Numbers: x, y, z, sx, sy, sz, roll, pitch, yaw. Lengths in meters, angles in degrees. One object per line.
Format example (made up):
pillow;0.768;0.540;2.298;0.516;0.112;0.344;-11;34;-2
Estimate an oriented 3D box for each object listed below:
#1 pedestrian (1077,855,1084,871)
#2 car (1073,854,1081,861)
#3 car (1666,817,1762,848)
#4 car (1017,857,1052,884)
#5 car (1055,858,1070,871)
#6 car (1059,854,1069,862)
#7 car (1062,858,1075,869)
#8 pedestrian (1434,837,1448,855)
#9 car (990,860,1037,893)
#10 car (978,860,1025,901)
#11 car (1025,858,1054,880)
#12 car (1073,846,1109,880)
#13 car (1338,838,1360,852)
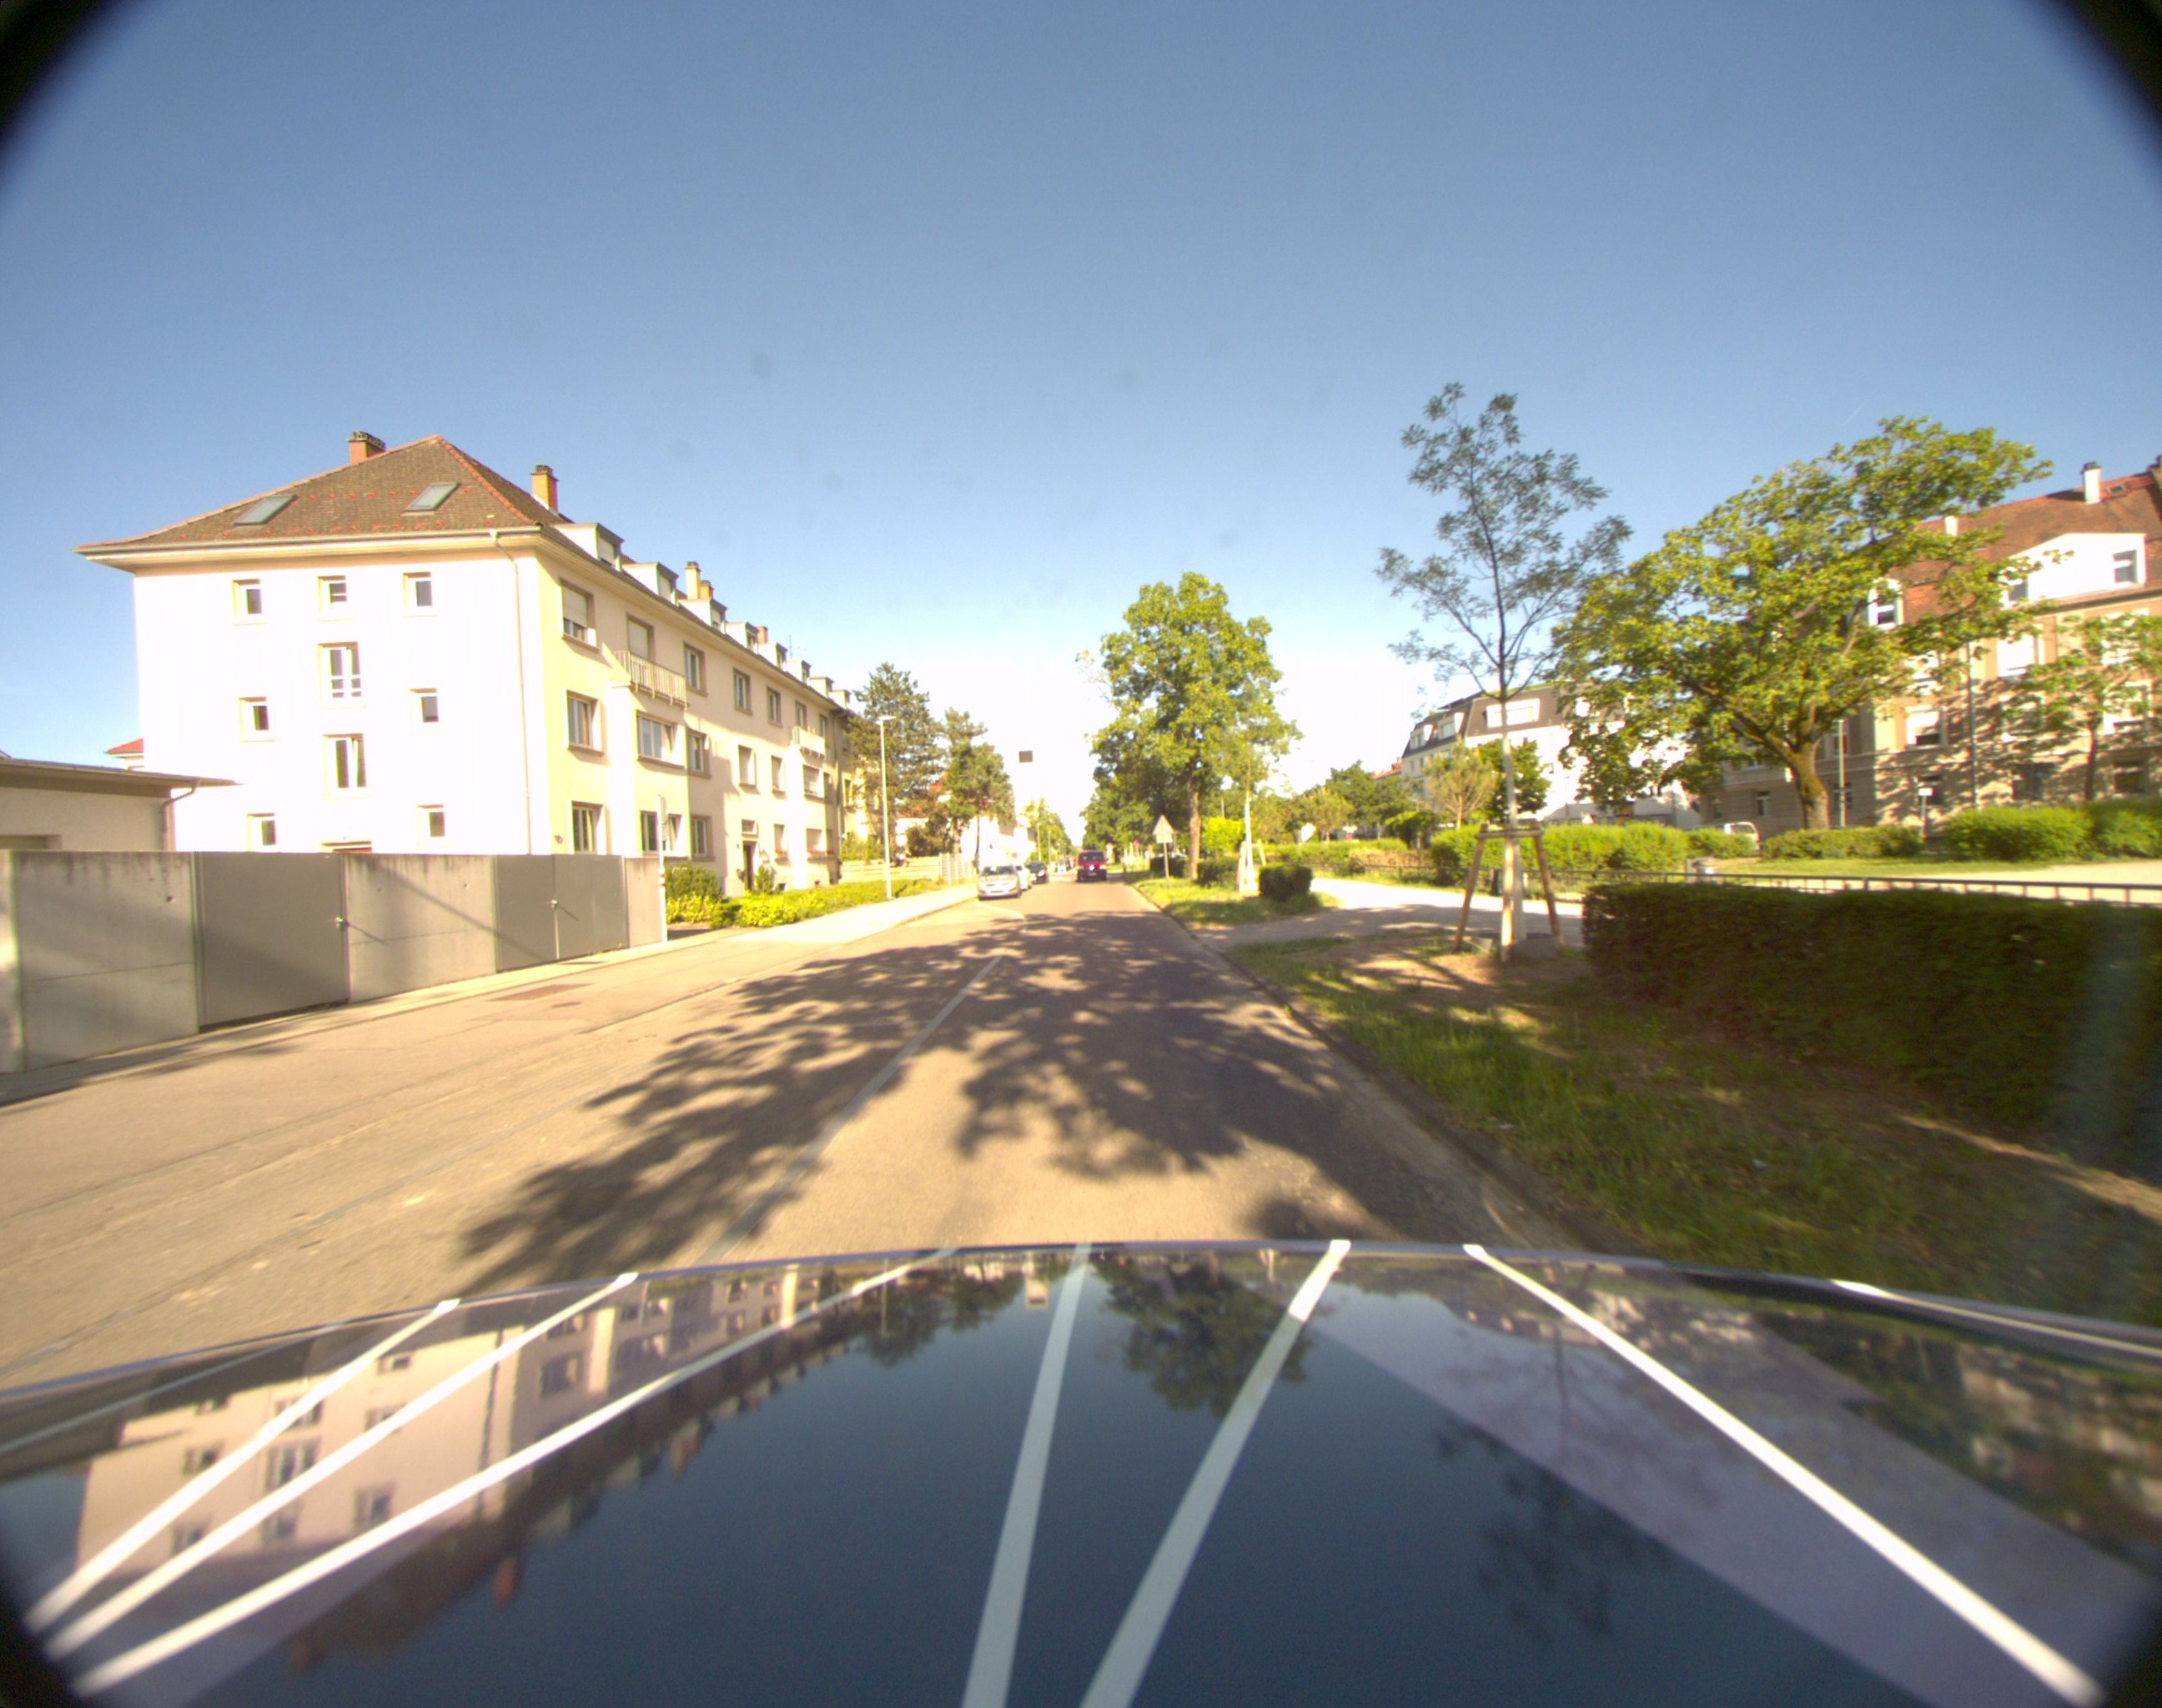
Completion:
pedestrian;-0.054;0.903;76.746;0.650;1.658;0.649;-2;3;-5
car;-0.881;0.746;179.268;1.799;1.529;4.001;-3;-1;0
car;36.841;-1.201;44.379;1.798;1.626;4.587;-3;0;1
car;-2.880;0.999;48.299;1.798;1.501;3.995;-4;0;1
car;-2.362;1.337;97.490;1.799;1.529;4.001;-3;-1;0
car;-3.619;0.818;161.298;1.799;1.529;4.001;-3;-1;0
car;-1.781;1.358;109.299;1.799;1.529;4.001;-3;-1;0
pedestrian;26.061;-0.565;55.034;0.649;1.231;0.650;-3;1;7
car;-3.367;1.089;38.668;1.798;1.412;4.288;-4;0;1
car;-3.283;1.071;32.047;1.664;1.456;4.410;-4;0;-3
car;-2.962;1.062;54.786;1.676;1.414;4.134;-4;0;1
car;0.635;0.547;48.655;2.092;2.000;4.844;-2;0;1
car;40.782;-1.341;115.537;1.941;2.017;4.406;-2;0;3
